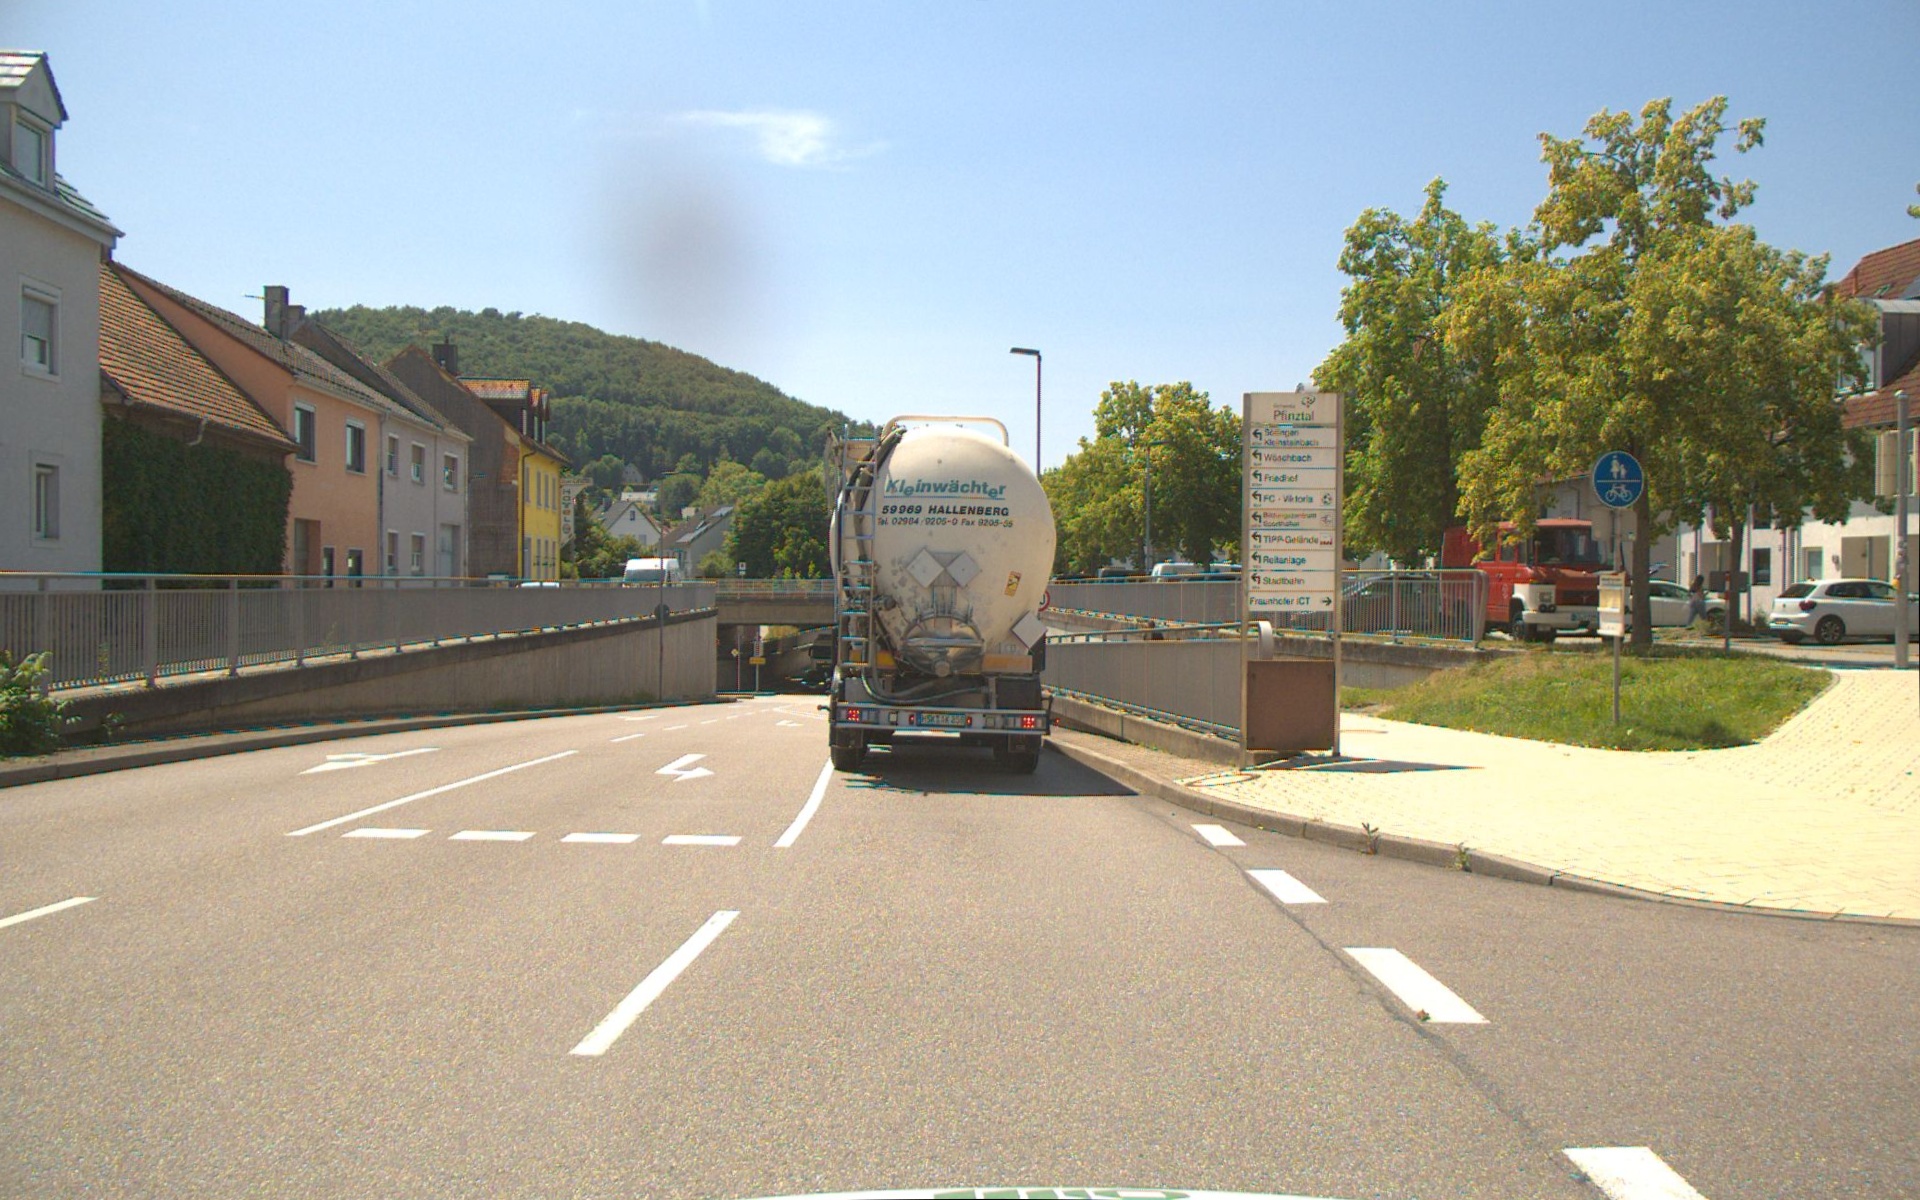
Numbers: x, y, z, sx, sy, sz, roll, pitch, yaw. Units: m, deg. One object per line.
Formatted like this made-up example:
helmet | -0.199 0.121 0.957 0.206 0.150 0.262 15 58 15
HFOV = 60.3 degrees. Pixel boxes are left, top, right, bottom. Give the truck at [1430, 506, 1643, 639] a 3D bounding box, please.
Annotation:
truck | 11.192 -0.512 32.564 2.090 2.375 5.256 1 0 -3

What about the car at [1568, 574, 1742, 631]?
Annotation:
car | 20.242 0.061 48.260 4.318 1.516 1.757 -2 0 -3

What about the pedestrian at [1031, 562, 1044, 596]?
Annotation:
pedestrian | 4.133 -1.146 88.745 0.659 1.811 0.594 0 0 -1

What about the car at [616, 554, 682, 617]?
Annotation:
car | -13.581 -0.607 72.549 2.024 2.581 5.658 2 0 -3

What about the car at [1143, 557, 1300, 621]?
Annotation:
car | 8.831 -0.372 56.113 5.009 2.099 1.988 0 0 -2

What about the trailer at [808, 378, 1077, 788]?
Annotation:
trailer | -0.324 0.051 23.523 2.679 4.136 13.306 1 -2 -1

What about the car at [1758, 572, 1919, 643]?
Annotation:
car | 20.648 0.156 37.937 3.858 1.504 1.757 -2 0 -3

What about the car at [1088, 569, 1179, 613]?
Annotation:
car | 7.625 -0.385 72.984 3.827 1.918 1.685 0 0 -2

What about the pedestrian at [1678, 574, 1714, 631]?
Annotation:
pedestrian | 20.370 0.058 45.779 0.734 1.537 0.605 -2 1 -40

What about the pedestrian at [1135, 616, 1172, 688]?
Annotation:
pedestrian | 4.932 1.316 42.125 0.819 1.813 0.788 0 -2 -3

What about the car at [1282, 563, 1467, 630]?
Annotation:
car | 9.721 -0.073 38.980 3.906 1.525 1.748 0 0 -2
